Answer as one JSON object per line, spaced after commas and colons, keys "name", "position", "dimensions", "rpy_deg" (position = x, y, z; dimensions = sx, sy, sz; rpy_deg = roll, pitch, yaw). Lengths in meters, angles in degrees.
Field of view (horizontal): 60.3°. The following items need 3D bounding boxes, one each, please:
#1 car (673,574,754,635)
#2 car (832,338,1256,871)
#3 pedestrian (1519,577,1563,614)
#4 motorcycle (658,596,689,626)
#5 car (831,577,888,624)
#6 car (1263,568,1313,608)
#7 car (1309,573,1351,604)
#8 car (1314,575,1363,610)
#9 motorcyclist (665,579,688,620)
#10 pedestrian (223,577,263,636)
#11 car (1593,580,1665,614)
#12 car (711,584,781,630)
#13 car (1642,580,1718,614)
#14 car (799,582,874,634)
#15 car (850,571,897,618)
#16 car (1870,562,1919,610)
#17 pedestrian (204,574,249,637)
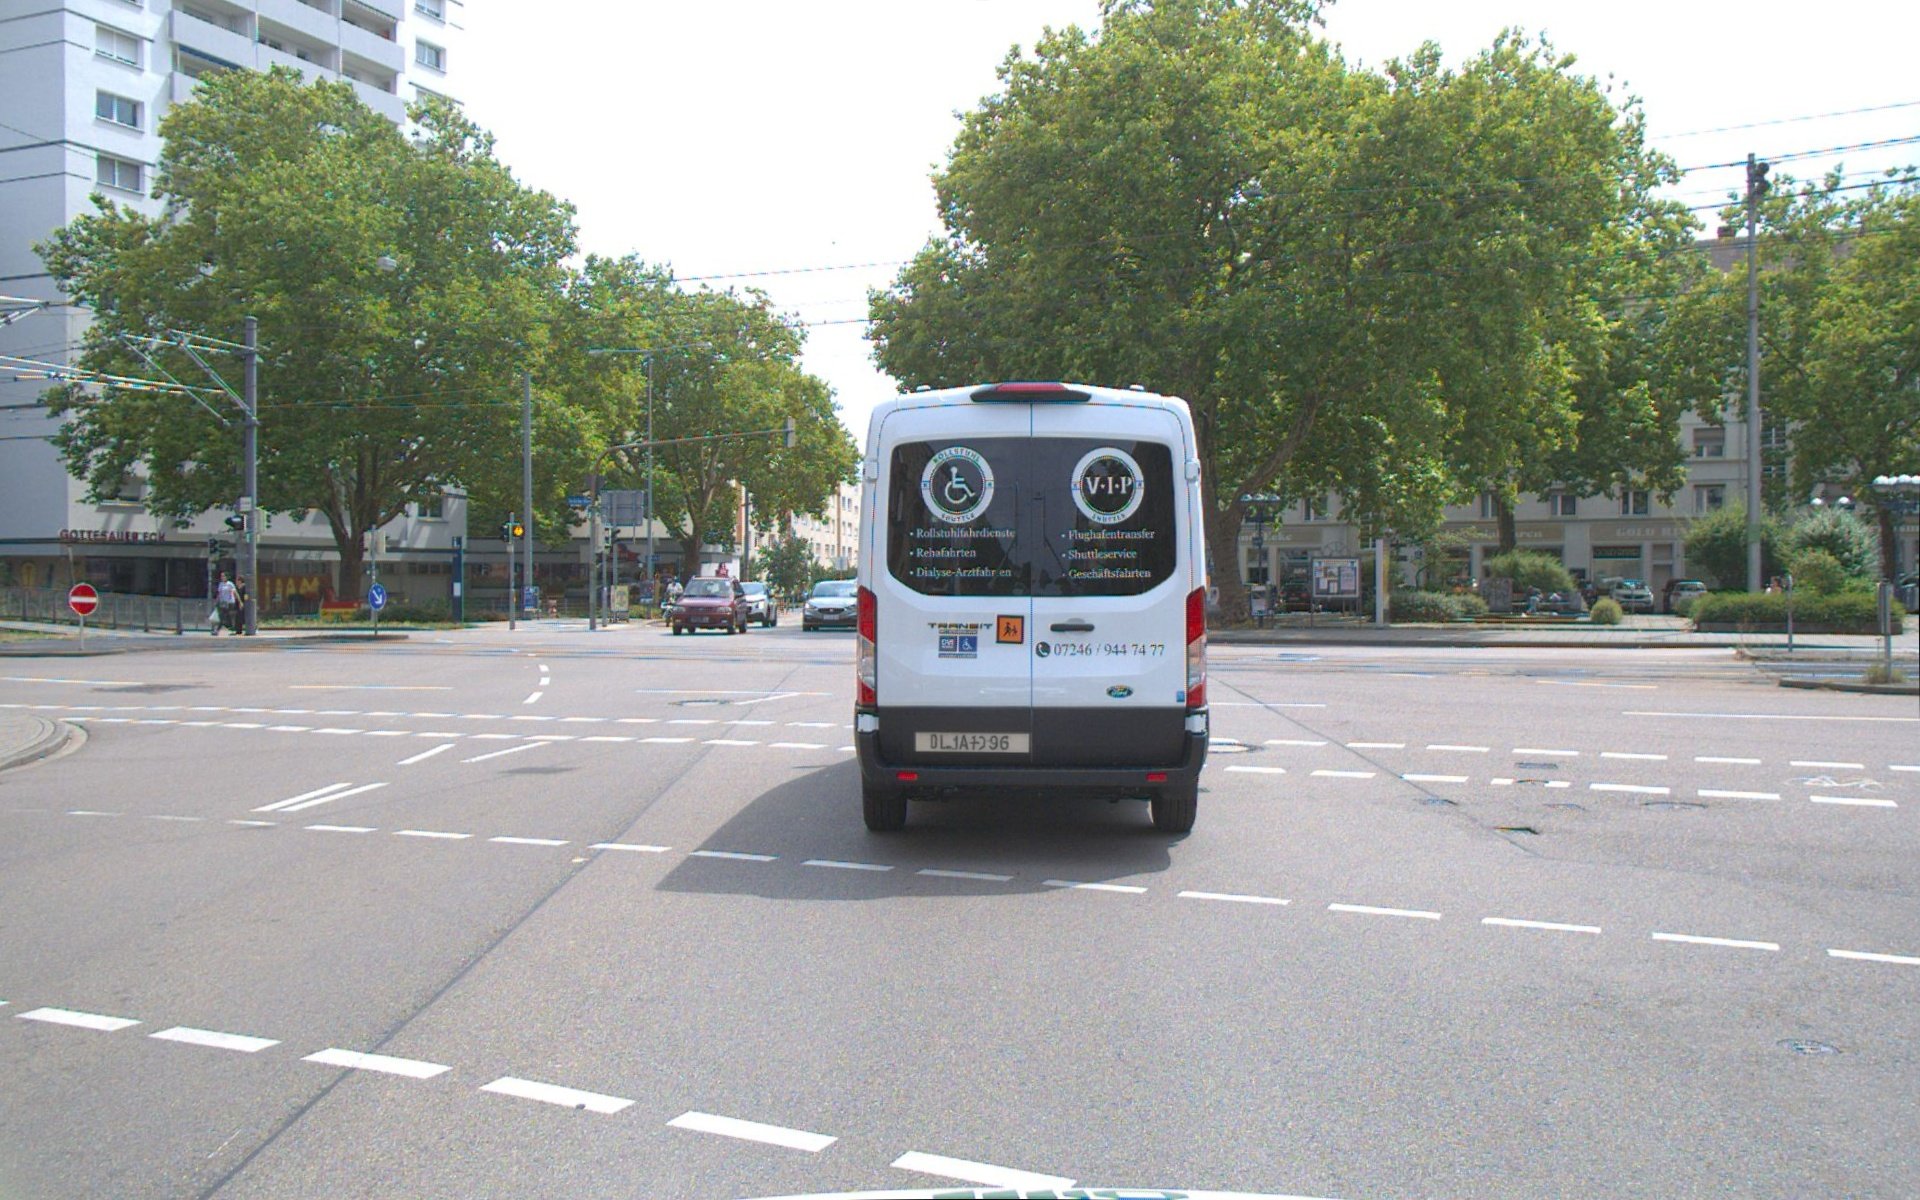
{"name": "car", "position": [-6.435, 0.087, 43.425], "dimensions": [1.559, 1.534, 3.807], "rpy_deg": [0, 1, 0]}
{"name": "car", "position": [0.348, -0.041, 10.875], "dimensions": [2.138, 2.693, 4.626], "rpy_deg": [-2, 1, -3]}
{"name": "pedestrian", "position": [20.830, -0.148, 59.311], "dimensions": [1.068, 1.257, 1.441], "rpy_deg": [-2, 0, 3]}
{"name": "motorcycle", "position": [-9.835, 0.360, 56.860], "dimensions": [0.669, 0.988, 2.323], "rpy_deg": [0, 1, -1]}
{"name": "car", "position": [-3.569, 0.003, 59.289], "dimensions": [1.707, 1.615, 4.330], "rpy_deg": [0, 1, 1]}
{"name": "car", "position": [16.508, -0.631, 83.371], "dimensions": [1.952, 1.964, 4.002], "rpy_deg": [0, 1, 3]}
{"name": "car", "position": [20.879, -0.650, 93.231], "dimensions": [1.767, 1.713, 4.001], "rpy_deg": [0, 1, 20]}
{"name": "car", "position": [18.964, -0.406, 82.939], "dimensions": [1.767, 1.713, 4.002], "rpy_deg": [0, 1, 3]}
{"name": "motorcyclist", "position": [-9.847, -0.024, 57.457], "dimensions": [0.669, 1.420, 0.681], "rpy_deg": [0, 0, -1]}
{"name": "pedestrian", "position": [-19.031, 0.154, 43.913], "dimensions": [0.718, 1.541, 0.918], "rpy_deg": [-1, 1, -43]}
{"name": "car", "position": [31.220, -0.149, 77.343], "dimensions": [1.952, 1.529, 4.002], "rpy_deg": [0, 1, 3]}
{"name": "car", "position": [-7.074, 0.207, 54.991], "dimensions": [1.707, 1.452, 4.033], "rpy_deg": [0, 1, 1]}
{"name": "car", "position": [33.430, -0.165, 76.891], "dimensions": [1.952, 1.545, 4.002], "rpy_deg": [0, 1, 3]}
{"name": "car", "position": [-3.545, 0.198, 48.133], "dimensions": [1.794, 1.452, 4.121], "rpy_deg": [0, 1, 1]}
{"name": "car", "position": [-3.779, -0.265, 72.539], "dimensions": [1.707, 1.964, 4.854], "rpy_deg": [0, 1, 1]}
{"name": "car", "position": [39.647, -0.585, 67.842], "dimensions": [3.906, 1.915, 1.857], "rpy_deg": [0, 0, 23]}
{"name": "pedestrian", "position": [-18.922, 0.138, 42.680], "dimensions": [0.791, 1.600, 0.723], "rpy_deg": [0, 0, 27]}
